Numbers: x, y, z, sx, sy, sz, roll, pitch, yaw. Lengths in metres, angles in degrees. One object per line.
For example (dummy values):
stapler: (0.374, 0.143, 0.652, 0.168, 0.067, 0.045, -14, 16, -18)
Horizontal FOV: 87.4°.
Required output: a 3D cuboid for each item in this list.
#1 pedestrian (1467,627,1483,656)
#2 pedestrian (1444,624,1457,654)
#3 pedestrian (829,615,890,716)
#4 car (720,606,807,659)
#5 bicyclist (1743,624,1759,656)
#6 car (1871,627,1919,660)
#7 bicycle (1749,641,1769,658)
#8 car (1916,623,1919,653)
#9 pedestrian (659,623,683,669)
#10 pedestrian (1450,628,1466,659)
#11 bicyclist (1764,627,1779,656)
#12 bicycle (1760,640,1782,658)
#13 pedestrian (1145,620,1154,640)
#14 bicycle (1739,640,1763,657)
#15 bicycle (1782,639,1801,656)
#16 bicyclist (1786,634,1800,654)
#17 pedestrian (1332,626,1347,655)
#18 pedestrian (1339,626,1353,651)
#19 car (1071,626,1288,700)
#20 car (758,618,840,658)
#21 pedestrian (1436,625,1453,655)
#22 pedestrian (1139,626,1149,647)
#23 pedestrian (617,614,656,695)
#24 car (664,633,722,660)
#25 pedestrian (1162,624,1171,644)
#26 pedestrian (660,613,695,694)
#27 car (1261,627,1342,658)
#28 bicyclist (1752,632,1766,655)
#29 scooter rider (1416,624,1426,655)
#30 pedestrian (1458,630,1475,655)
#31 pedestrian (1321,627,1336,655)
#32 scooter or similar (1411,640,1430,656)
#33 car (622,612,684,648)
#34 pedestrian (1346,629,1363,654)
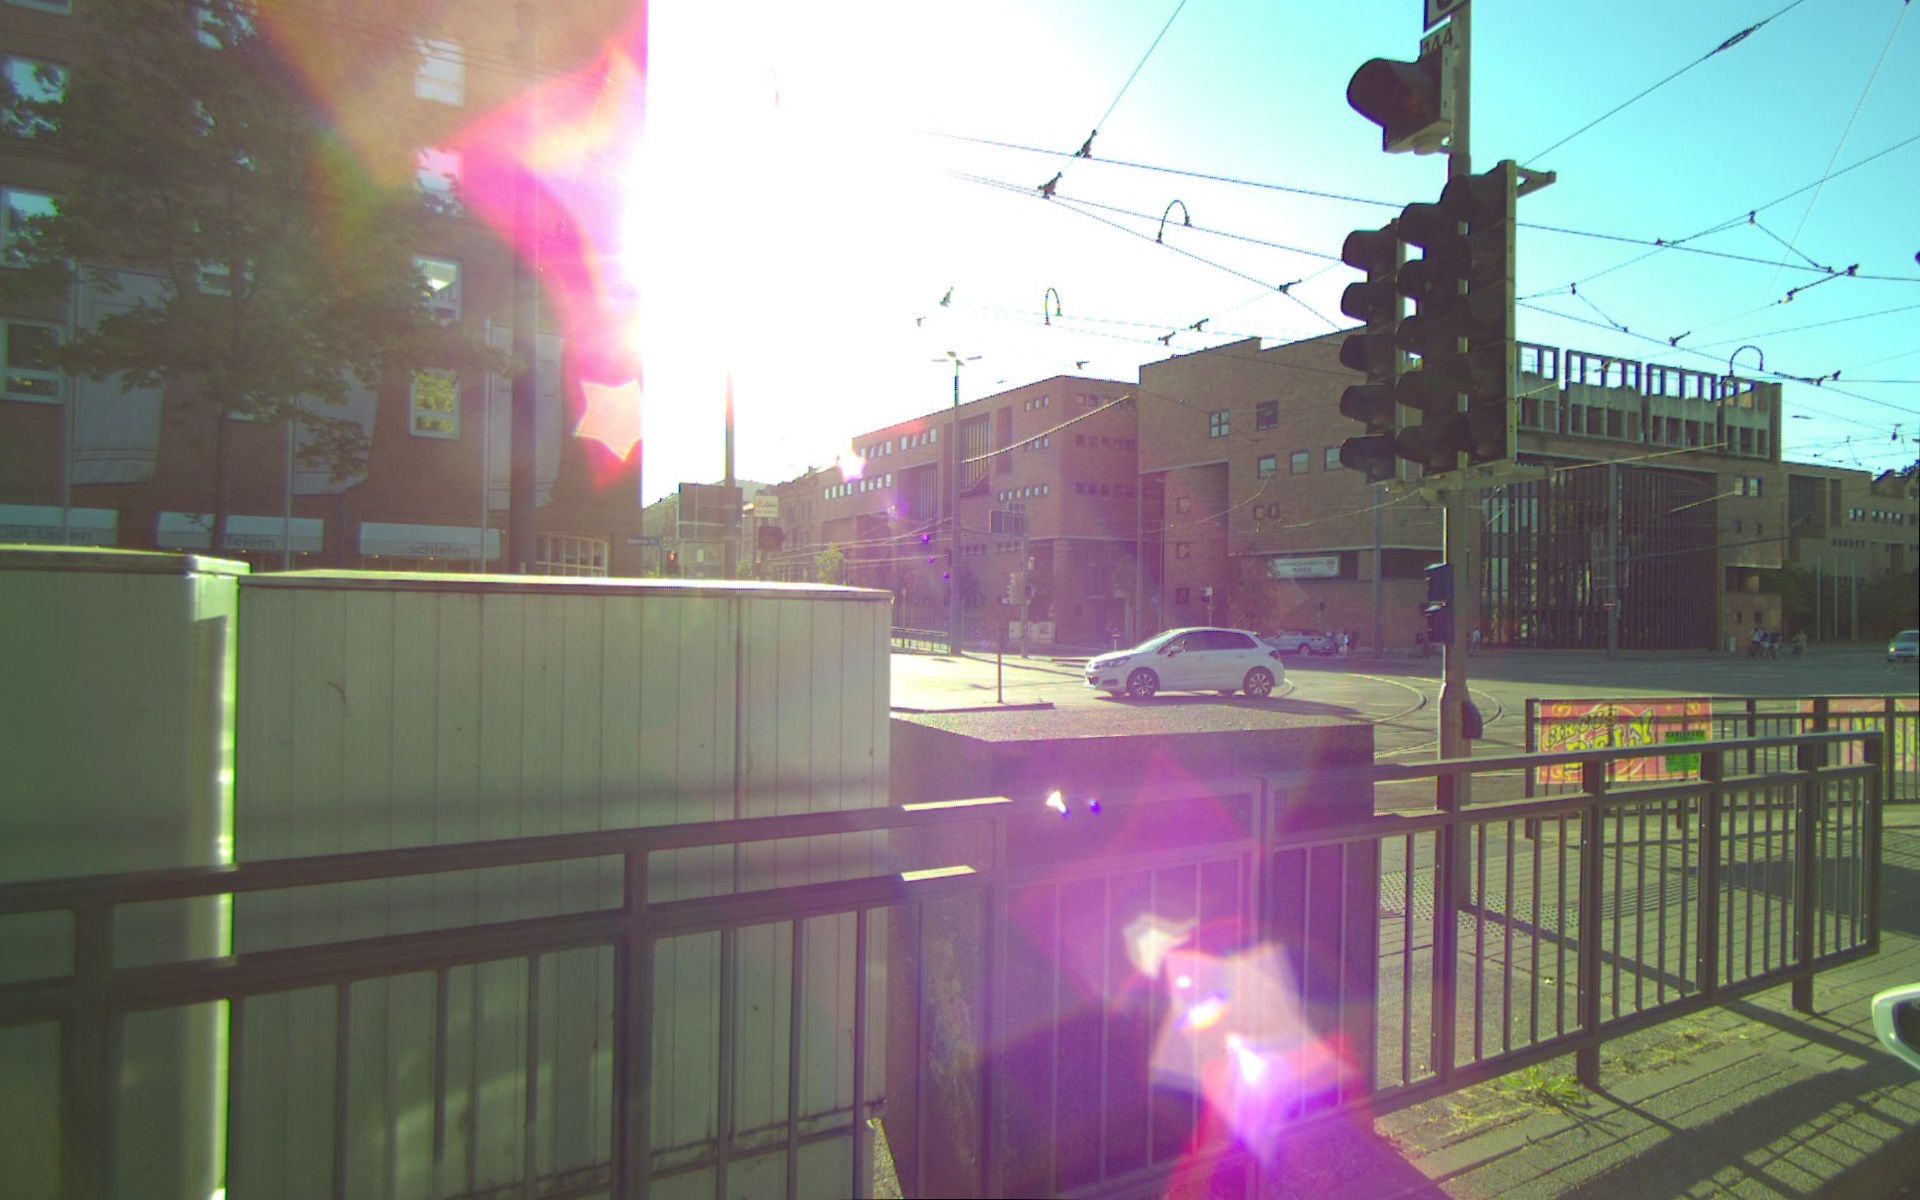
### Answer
pedestrian: (29.703, 2.399, 57.937, 0.607, 1.647, 0.612, 1, -1, -11)
pedestrian: (28.507, 2.257, 58.388, 0.538, 1.706, 0.574, 0, -1, 5)
pedestrian: (-1.716, 1.090, 17.074, 0.709, 1.669, 0.953, 1, -1, -30)
car: (-9.461, 1.522, 47.955, 1.982, 2.419, 5.156, 1, -2, -38)
bicyclist: (44.432, 2.232, 56.404, 0.574, 1.754, 0.534, 1, -1, -30)
car: (48.979, 2.225, 51.781, 3.954, 1.661, 1.983, 1, -2, -31)
bicycle: (46.548, 2.899, 58.535, 1.304, 0.976, 0.465, 1, -1, -30)
car: (55.248, 2.112, 55.895, 3.954, 1.661, 1.983, 1, -2, -31)
pedestrian: (-10.481, 1.656, 36.435, 0.658, 1.669, 0.638, 1, -1, -34)
pedestrian: (27.751, 2.420, 55.984, 0.541, 1.706, 0.591, 1, -1, -9)
bicyclist: (45.033, 2.306, 55.748, 0.574, 1.624, 0.456, 1, -1, -30)
bicycle: (44.934, 2.704, 55.648, 1.557, 0.976, 0.470, 1, -1, -30)
pedestrian: (14.228, 2.232, 75.394, 0.523, 1.482, 0.591, 0, -1, 3)
bicycle: (44.416, 2.721, 56.384, 1.568, 0.976, 0.539, 1, -1, -30)
bicycle: (49.331, 2.828, 59.589, 1.332, 0.976, 0.449, 1, -1, -30)
bicyclist: (49.471, 2.609, 59.654, 0.574, 1.194, 0.503, 1, -1, -30)
pedestrian: (21.734, 2.331, 57.576, 0.543, 1.670, 0.596, 1, -1, -30)
pedestrian: (22.556, 2.231, 58.666, 0.611, 1.473, 0.562, 2, -2, -45)
car: (4.670, 1.329, 21.656, 4.230, 1.508, 1.759, 1, -1, -8)
car: (-8.346, 1.912, 51.702, 1.982, 1.928, 5.156, 1, -2, -38)
pedestrian: (27.548, 2.255, 57.091, 0.610, 1.706, 0.650, 1, -1, -7)
pedestrian: (13.427, 2.656, 73.204, 0.463, 1.482, 0.505, 1, -1, -37)
pedestrian: (-7.536, 1.243, 23.378, 0.713, 1.837, 0.904, 1, -1, -28)
car: (-14.395, 2.458, 53.958, 1.729, 1.372, 3.960, 1, -2, -36)
pedestrian: (15.369, 2.536, 74.701, 0.549, 1.445, 0.556, 0, -1, 1)
pedestrian: (-6.717, 1.258, 23.871, 0.647, 1.864, 0.835, 1, -1, -28)
car: (18.172, 2.231, 53.561, 1.984, 1.595, 3.684, 1, -2, -36)
bicyclist: (46.563, 2.530, 58.536, 0.574, 1.321, 0.503, 1, -1, -30)
scooter rider: (25.422, 2.164, 55.374, 0.429, 1.669, 0.229, 0, -1, 15)
pedestrian: (28.767, 2.417, 57.099, 0.589, 1.440, 0.641, 1, -1, -12)
pedestrian: (21.440, 2.377, 58.455, 0.582, 1.635, 0.593, 1, -1, -31)
scooter or similar: (25.374, 2.642, 55.374, 0.931, 0.911, 0.176, 0, -1, 14)
car: (-18.896, 1.818, 61.660, 1.982, 2.122, 5.156, 1, -2, -38)
pedestrian: (22.251, 2.342, 56.702, 0.670, 1.357, 0.603, 1, -1, -14)
